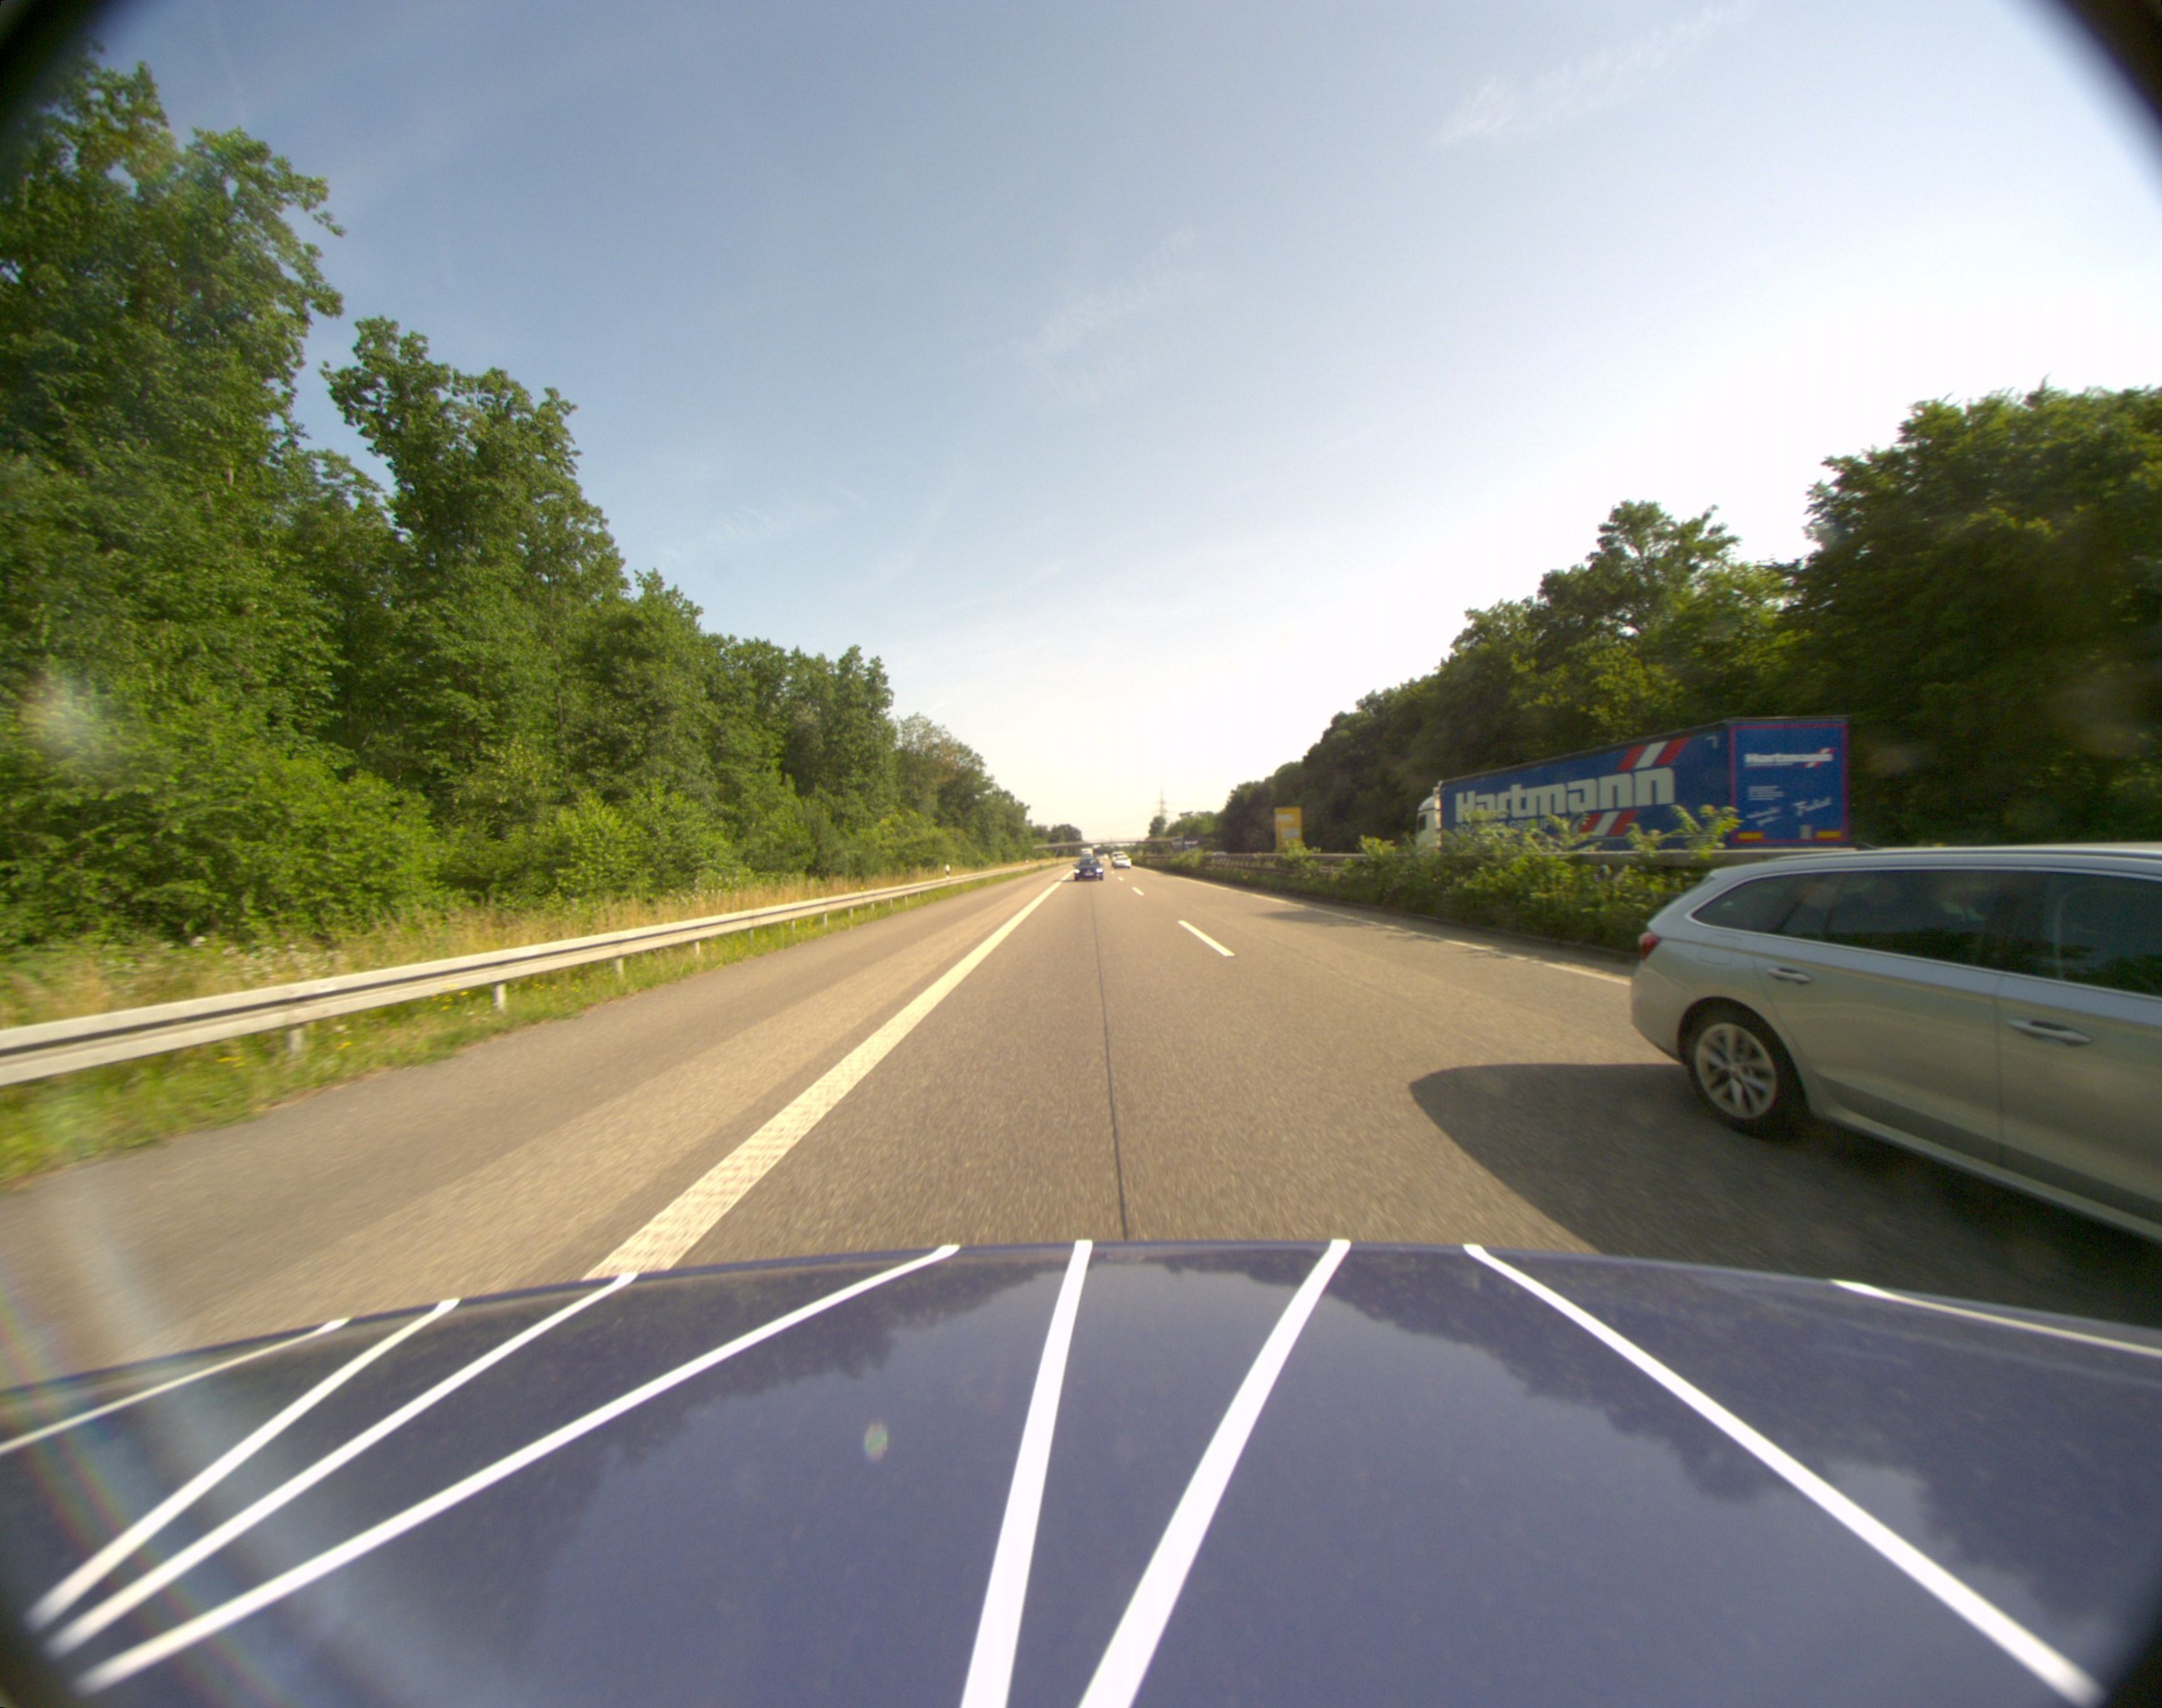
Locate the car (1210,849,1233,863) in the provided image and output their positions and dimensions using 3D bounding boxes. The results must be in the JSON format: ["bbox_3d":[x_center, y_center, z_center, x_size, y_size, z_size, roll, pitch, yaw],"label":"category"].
[{"bbox_3d":[16.412,0.228,88.817,1.755,1.457,4.810,-4,0,1],"label":"car"}]

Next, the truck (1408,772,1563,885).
[{"bbox_3d":[15.589,-0.910,29.866,2.900,4.008,6.025,0,0,1],"label":"truck"}]

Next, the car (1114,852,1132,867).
[{"bbox_3d":[4.640,0.569,84.683,1.754,1.477,5.263,-2,0,0],"label":"car"}]

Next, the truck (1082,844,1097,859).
[{"bbox_3d":[1.676,-0.464,161.988,2.695,3.020,10.369,-2,0,-2],"label":"truck"}]

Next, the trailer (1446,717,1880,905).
[{"bbox_3d":[15.538,-0.927,22.780,2.900,3.985,13.322,0,0,1],"label":"trailer"}]

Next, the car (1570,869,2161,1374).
[{"bbox_3d":[4.146,0.836,2.408,1.797,1.430,5.278,-1,0,0],"label":"car"}]

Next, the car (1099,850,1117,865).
[{"bbox_3d":[3.642,0.475,103.573,1.913,1.934,4.705,-2,0,-3],"label":"car"}]

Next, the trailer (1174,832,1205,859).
[{"bbox_3d":[17.303,-1.245,122.346,2.974,4.046,14.316,-1,0,0],"label":"trailer"}]

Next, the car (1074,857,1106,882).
[{"bbox_3d":[0.498,0.898,45.172,1.789,1.285,3.538,-2,0,-1],"label":"car"}]

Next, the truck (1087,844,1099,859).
[{"bbox_3d":[3.390,-0.615,212.211,2.695,4.062,12.362,-2,0,-2],"label":"truck"}]
